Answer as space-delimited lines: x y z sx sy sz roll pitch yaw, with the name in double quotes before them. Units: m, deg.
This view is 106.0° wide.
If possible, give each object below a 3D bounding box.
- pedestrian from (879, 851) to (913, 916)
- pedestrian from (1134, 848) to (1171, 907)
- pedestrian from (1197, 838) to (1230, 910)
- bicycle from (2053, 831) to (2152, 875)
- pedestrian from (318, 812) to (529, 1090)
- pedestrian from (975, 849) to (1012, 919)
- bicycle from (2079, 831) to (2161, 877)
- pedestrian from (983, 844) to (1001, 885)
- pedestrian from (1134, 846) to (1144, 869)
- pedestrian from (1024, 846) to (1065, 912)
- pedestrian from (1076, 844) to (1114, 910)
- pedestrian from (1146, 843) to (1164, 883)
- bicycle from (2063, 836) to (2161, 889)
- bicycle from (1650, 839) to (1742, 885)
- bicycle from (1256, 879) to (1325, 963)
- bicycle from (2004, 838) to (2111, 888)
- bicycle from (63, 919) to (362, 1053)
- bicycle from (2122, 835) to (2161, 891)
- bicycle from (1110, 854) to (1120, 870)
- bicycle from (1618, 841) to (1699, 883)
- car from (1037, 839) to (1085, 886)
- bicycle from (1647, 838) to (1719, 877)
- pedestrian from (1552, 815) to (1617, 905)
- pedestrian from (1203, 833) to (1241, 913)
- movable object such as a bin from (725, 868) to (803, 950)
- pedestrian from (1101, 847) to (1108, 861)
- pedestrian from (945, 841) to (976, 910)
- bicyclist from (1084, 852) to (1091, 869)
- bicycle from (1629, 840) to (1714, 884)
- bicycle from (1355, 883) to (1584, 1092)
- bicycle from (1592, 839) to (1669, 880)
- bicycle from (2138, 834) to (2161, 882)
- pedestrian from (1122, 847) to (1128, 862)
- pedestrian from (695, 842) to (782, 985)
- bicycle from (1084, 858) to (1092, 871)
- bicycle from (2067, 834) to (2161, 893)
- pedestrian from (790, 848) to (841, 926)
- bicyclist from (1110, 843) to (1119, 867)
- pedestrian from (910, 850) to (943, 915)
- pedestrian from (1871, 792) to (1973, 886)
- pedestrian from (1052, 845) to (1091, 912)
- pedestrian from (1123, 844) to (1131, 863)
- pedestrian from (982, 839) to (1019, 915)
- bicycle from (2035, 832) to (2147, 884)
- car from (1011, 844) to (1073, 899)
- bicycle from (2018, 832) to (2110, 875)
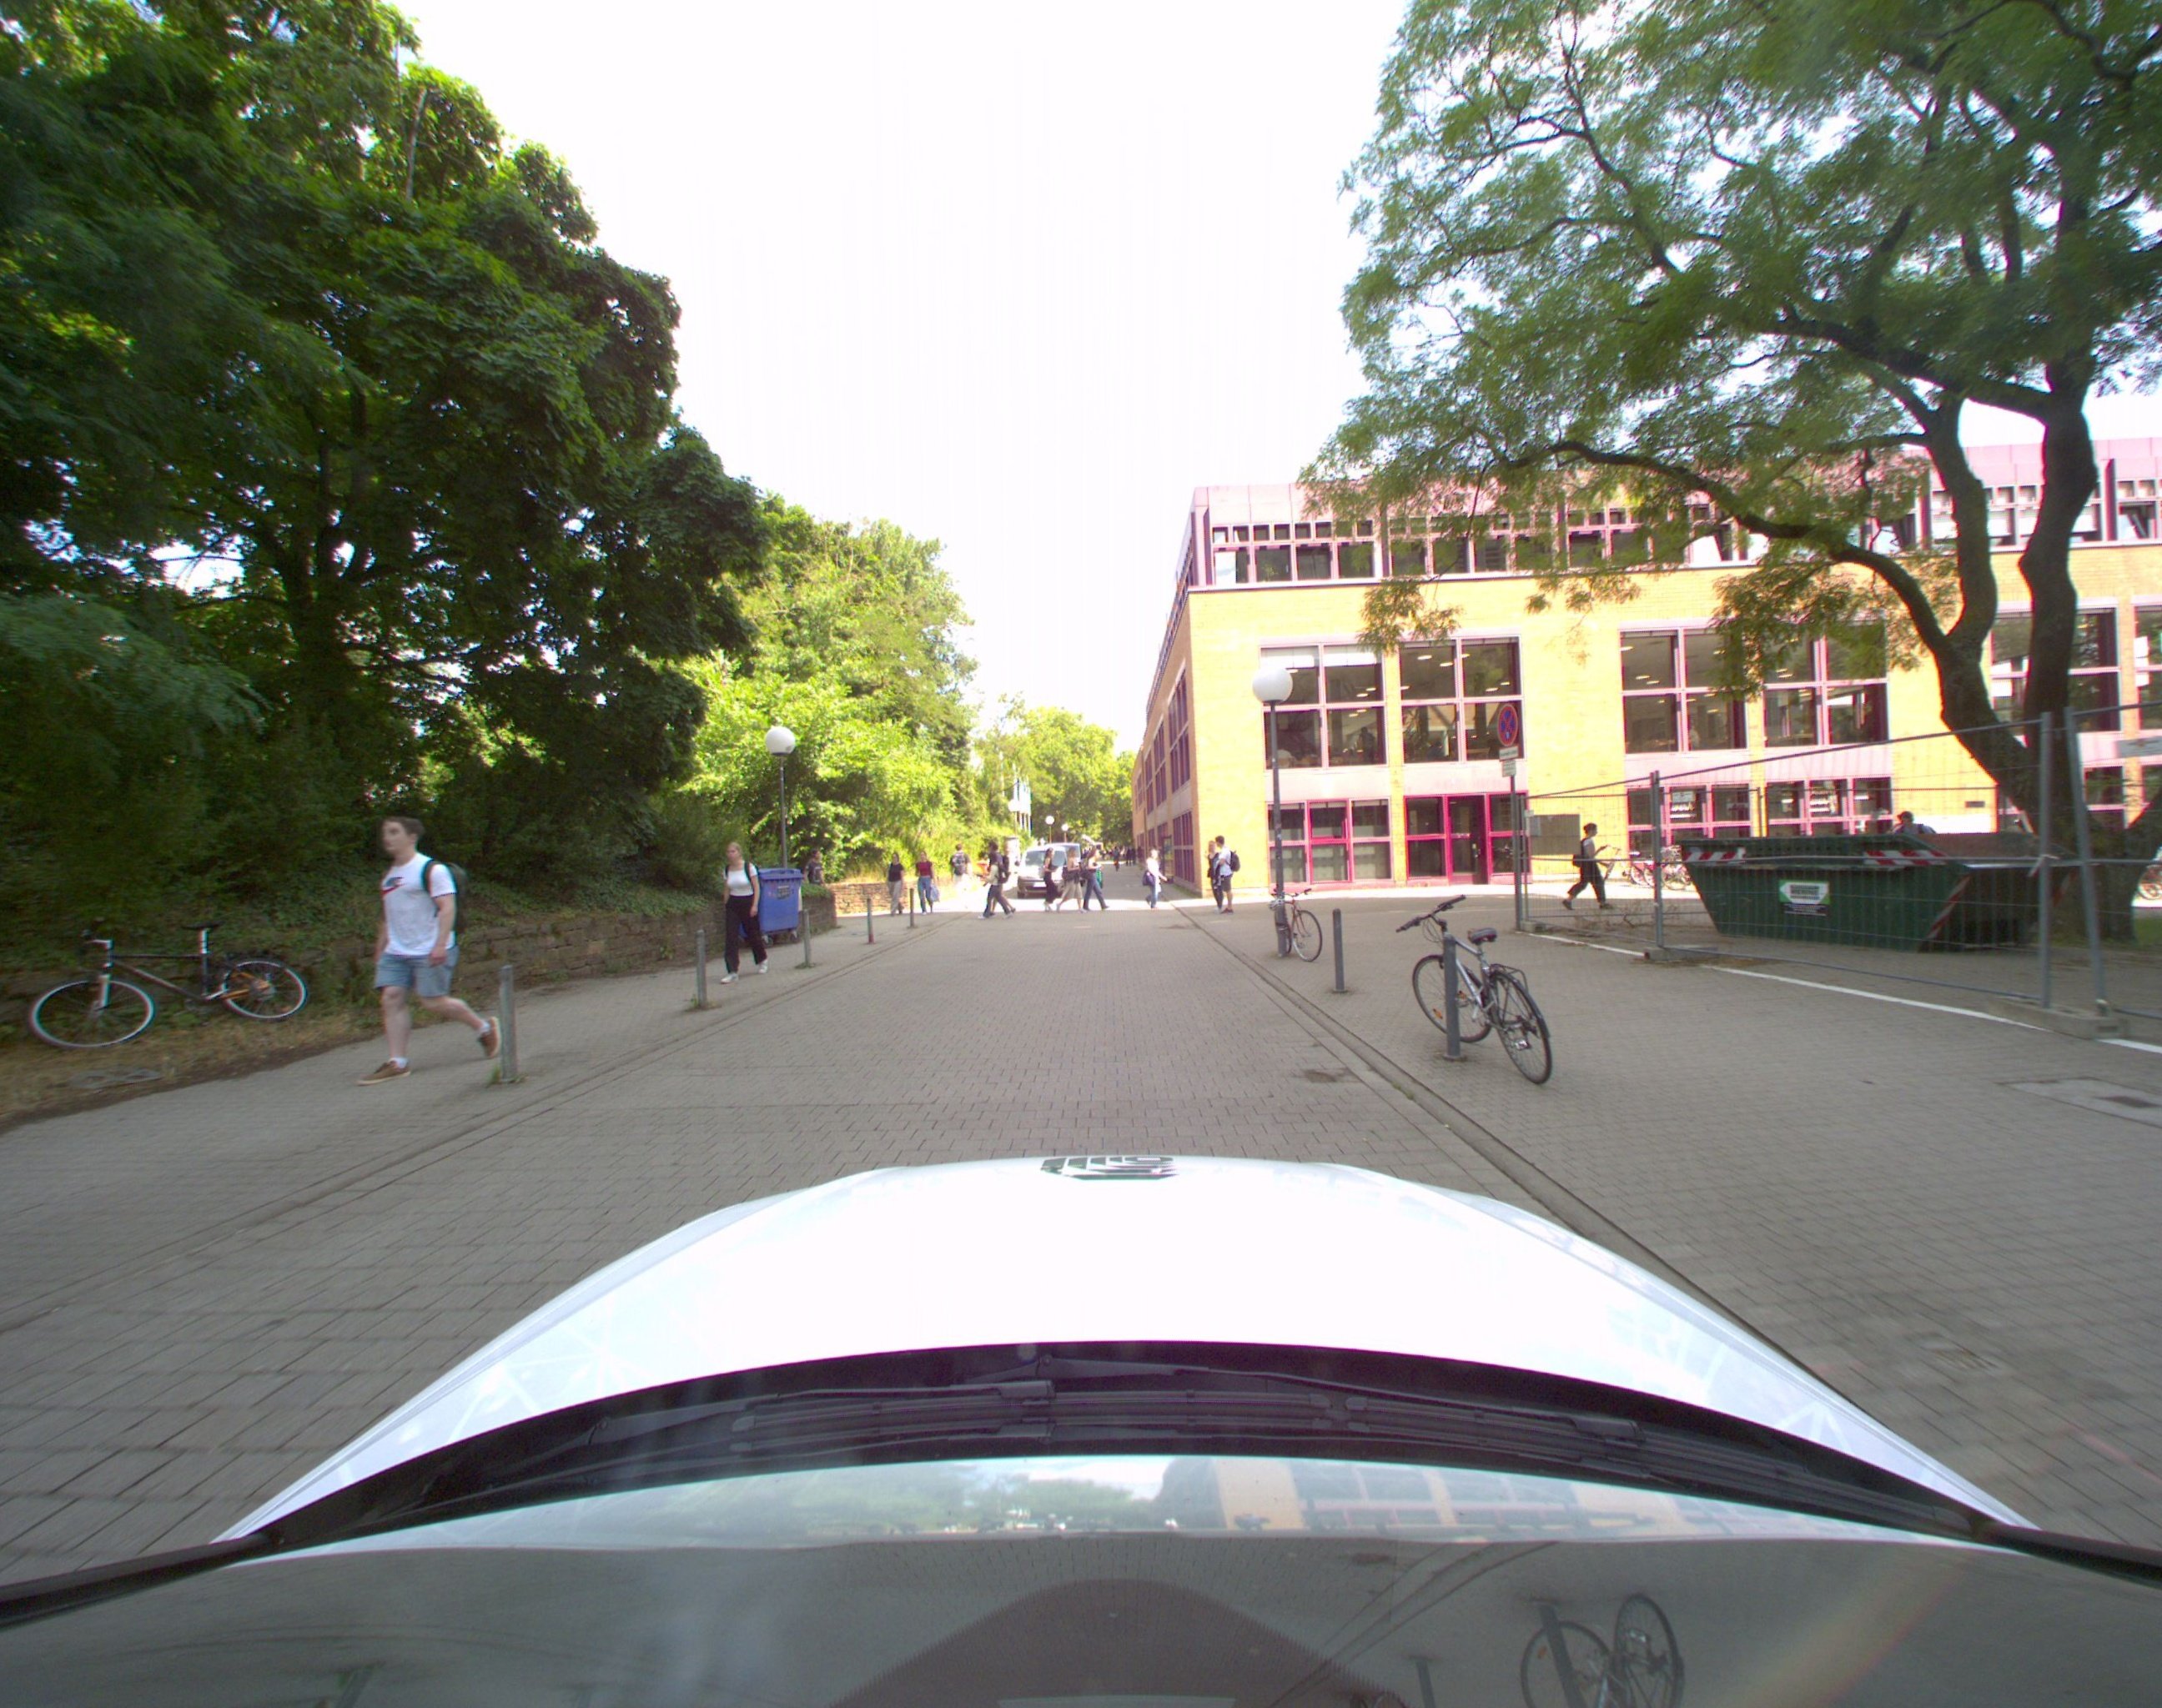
"pedestrian" -4.794 0.753 21.151 0.681 1.620 0.977 -1 -1 -3
"pedestrian" 1.951 0.629 22.176 0.881 1.542 0.745 -3 0 9
"pedestrian" 3.180 0.484 19.534 0.692 1.672 0.589 -3 -1 9
"bicycle" 27.546 -0.017 21.981 1.989 1.169 0.545 0 0 0
"pedestrian" -4.872 0.666 6.122 0.722 1.881 1.081 -1 -1 -3
"pedestrian" -2.079 0.715 19.467 0.778 1.620 0.684 -1 -1 -1
"bicycle" 27.341 0.006 21.219 1.989 1.169 0.545 0 0 0
"pedestrian" -4.053 0.492 37.275 0.680 1.844 0.783 -1 -1 2
"pedestrian" 4.156 0.256 58.318 0.584 1.672 0.699 -3 -1 3
"pedestrian" -0.964 0.654 21.563 0.881 1.672 0.645 -3 1 9
"pedestrian" 0.373 0.608 21.688 0.927 1.672 0.587 -2 -1 -3
"pedestrian" 3.252 0.388 35.844 0.680 1.747 0.783 -1 -1 2
"bicycle" 23.275 0.181 18.236 1.989 1.169 0.474 0 0 0
"bicycle" 15.067 0.193 19.967 1.801 1.110 0.524 -1 0 5
"bicycle" 2.795 0.859 11.021 0.449 0.962 1.740 -4 0 1
"bicycle" 23.186 0.205 19.351 1.989 1.169 0.474 0 0 0
"bicycle" -7.355 1.068 7.035 0.418 0.910 1.747 -2 -2 17
"bicycle" 23.239 0.189 17.159 1.989 1.169 0.474 0 0 0
"bicycle" 2.463 0.573 59.341 0.585 1.083 1.906 -2 0 -1
"bicycle" 15.559 0.214 21.975 1.803 1.110 0.524 -1 0 0
"car" -0.844 0.359 38.008 1.876 1.974 5.217 -2 0 2
"bicycle" 17.395 0.094 23.535 1.803 1.110 0.473 -1 0 -5
"pedestrian" 9.505 0.123 15.408 0.847 1.651 0.589 -1 -1 9
"pedestrian" 3.269 0.432 18.886 0.762 1.794 0.589 -3 -1 9
"movable object such as a bin" -5.569 0.932 14.369 0.704 1.336 1.243 1 0 12
"pedestrian" 3.012 -0.003 105.013 0.722 1.672 0.749 -3 -1 3
"pedestrian" -3.299 0.585 22.400 0.680 1.844 0.783 -1 -1 2
"bicyclist" 0.622 0.572 74.228 0.585 1.573 0.829 -2 0 -2
"bicycle" 15.155 0.205 20.924 1.804 1.110 0.523 -1 0 -2
"bicycle" 2.474 0.778 5.449 0.706 1.093 1.749 -2 0 1
"bicycle" 15.364 0.154 22.773 1.803 1.110 0.523 -1 0 0
"bicycle" 27.413 0.091 20.073 1.989 1.169 0.545 0 0 0
"pedestrian" 5.602 0.062 102.614 0.650 1.922 0.818 -3 -1 3
"pedestrian" -4.373 0.732 10.451 0.681 1.728 1.001 -1 -1 -2
"bicycle" 0.620 0.943 74.258 0.585 1.083 1.813 -2 0 -1
"bicycle" 21.351 0.191 16.604 1.797 1.169 0.475 0 0 5
"pedestrian" -6.104 0.747 18.708 1.007 1.728 0.689 -2 -1 41
"bicyclist" 2.447 0.067 59.357 0.585 1.716 0.665 -2 0 -2
"pedestrian" -3.990 0.727 21.110 0.681 1.620 0.913 -1 -1 -3
"pedestrian" 15.217 -0.257 14.761 1.038 1.651 0.705 -1 -1 9
"pedestrian" -0.234 0.622 20.872 0.881 1.672 0.560 -1 -1 9
"pedestrian" 4.053 -0.023 71.993 0.584 1.672 0.818 -3 -1 3
"pedestrian" -1.991 0.566 20.151 0.823 1.844 0.684 -1 -1 -1
"bicycle" 23.335 0.095 18.821 1.989 1.169 0.474 0 0 0
"car" -1.294 0.563 28.923 1.783 1.761 4.483 -2 0 2
"bicycle" 27.565 -0.018 22.856 1.991 1.169 0.545 0 0 -2
